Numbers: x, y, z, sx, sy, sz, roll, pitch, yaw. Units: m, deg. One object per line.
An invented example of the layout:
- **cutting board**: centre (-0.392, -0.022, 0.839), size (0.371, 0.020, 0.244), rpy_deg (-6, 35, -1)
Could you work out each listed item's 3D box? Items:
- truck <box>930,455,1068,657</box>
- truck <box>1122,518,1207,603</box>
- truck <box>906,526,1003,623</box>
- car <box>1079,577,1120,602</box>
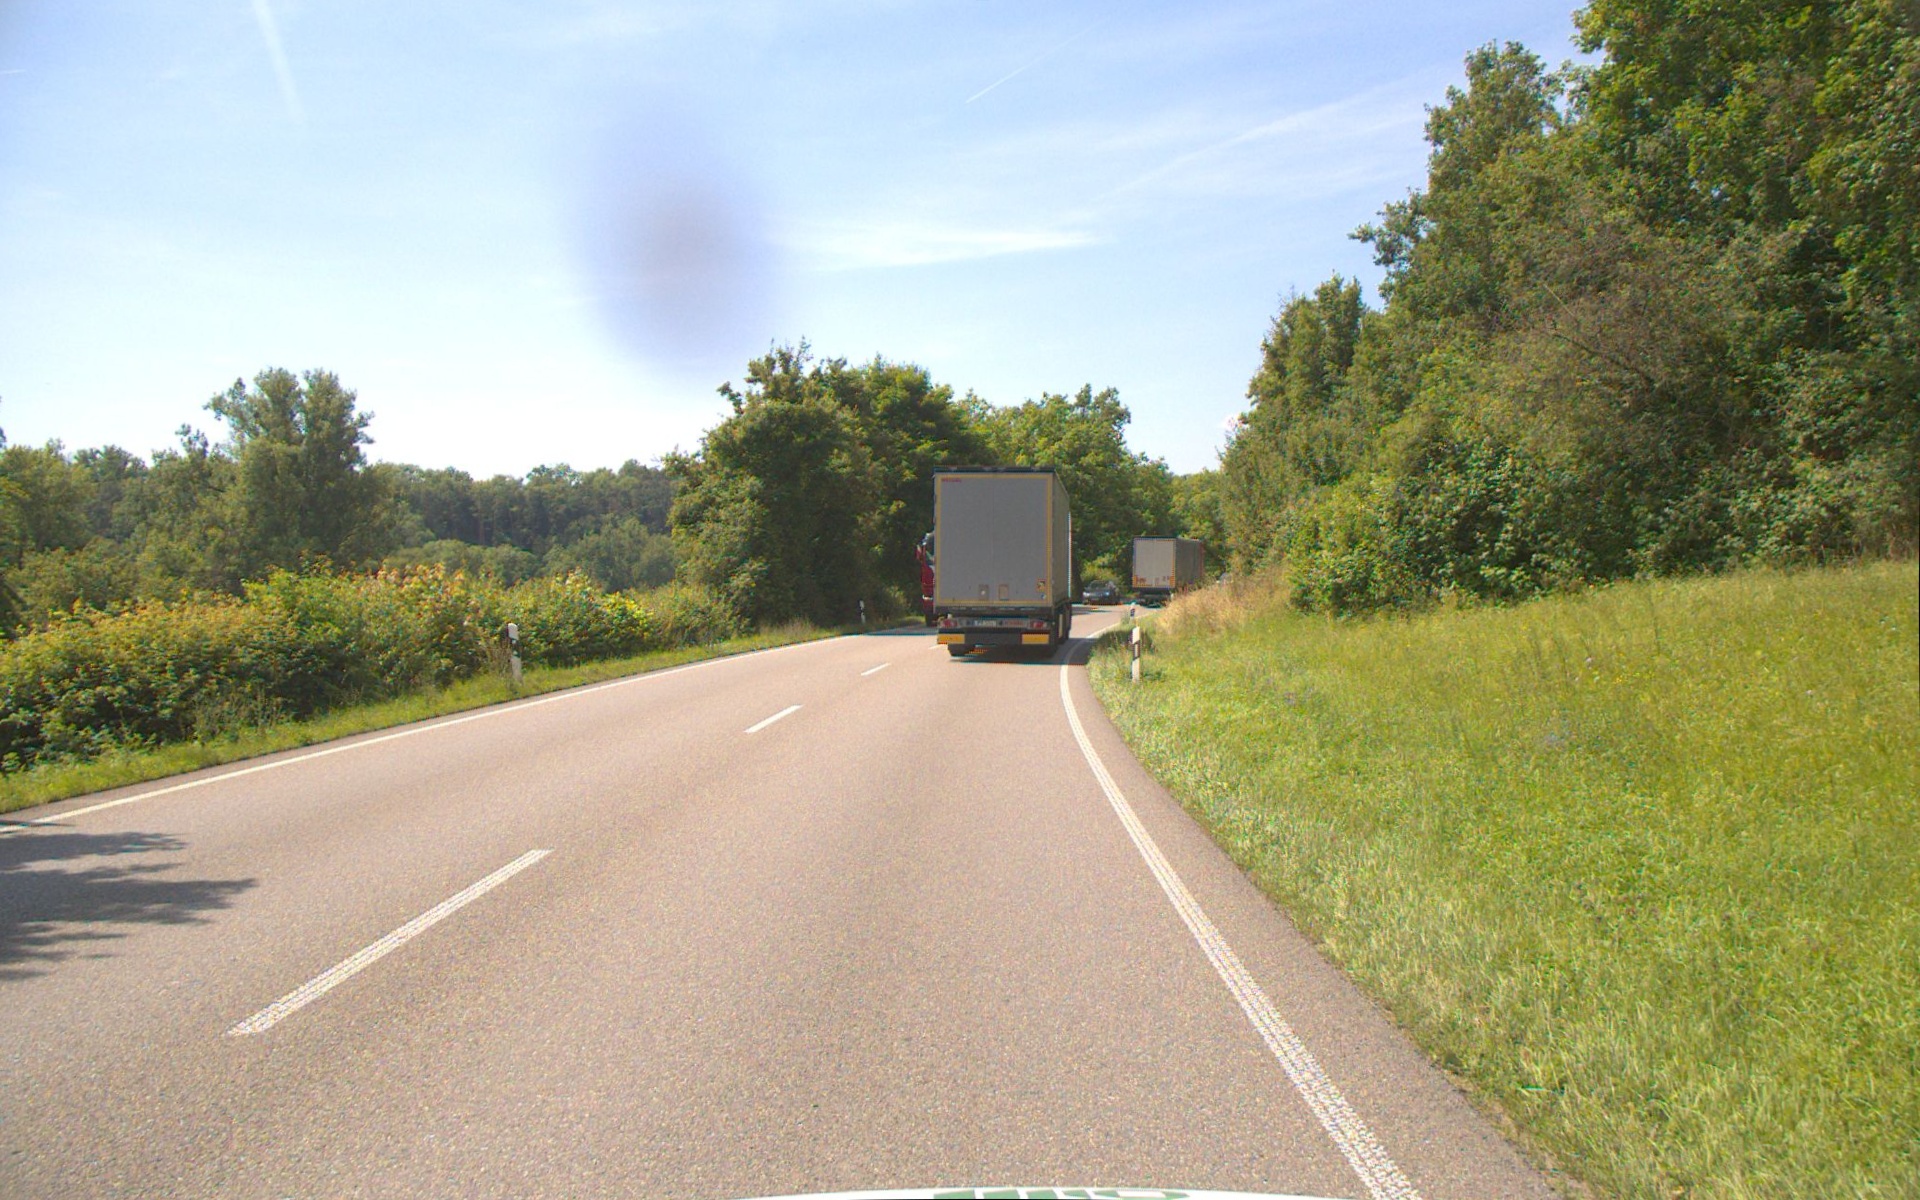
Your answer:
- **truck**: centre (1.302, -0.946, 41.597), size (2.743, 4.140, 15.333), rpy_deg (0, 0, 4)
- **truck**: centre (12.911, -2.521, 102.713), size (3.039, 4.787, 16.604), rpy_deg (-1, 2, 15)
- **truck**: centre (-0.026, -0.981, 66.413), size (2.498, 3.513, 12.643), rpy_deg (0, 0, 6)
- **car**: centre (8.566, -0.673, 101.400), size (1.673, 1.496, 4.378), rpy_deg (0, 0, 16)
